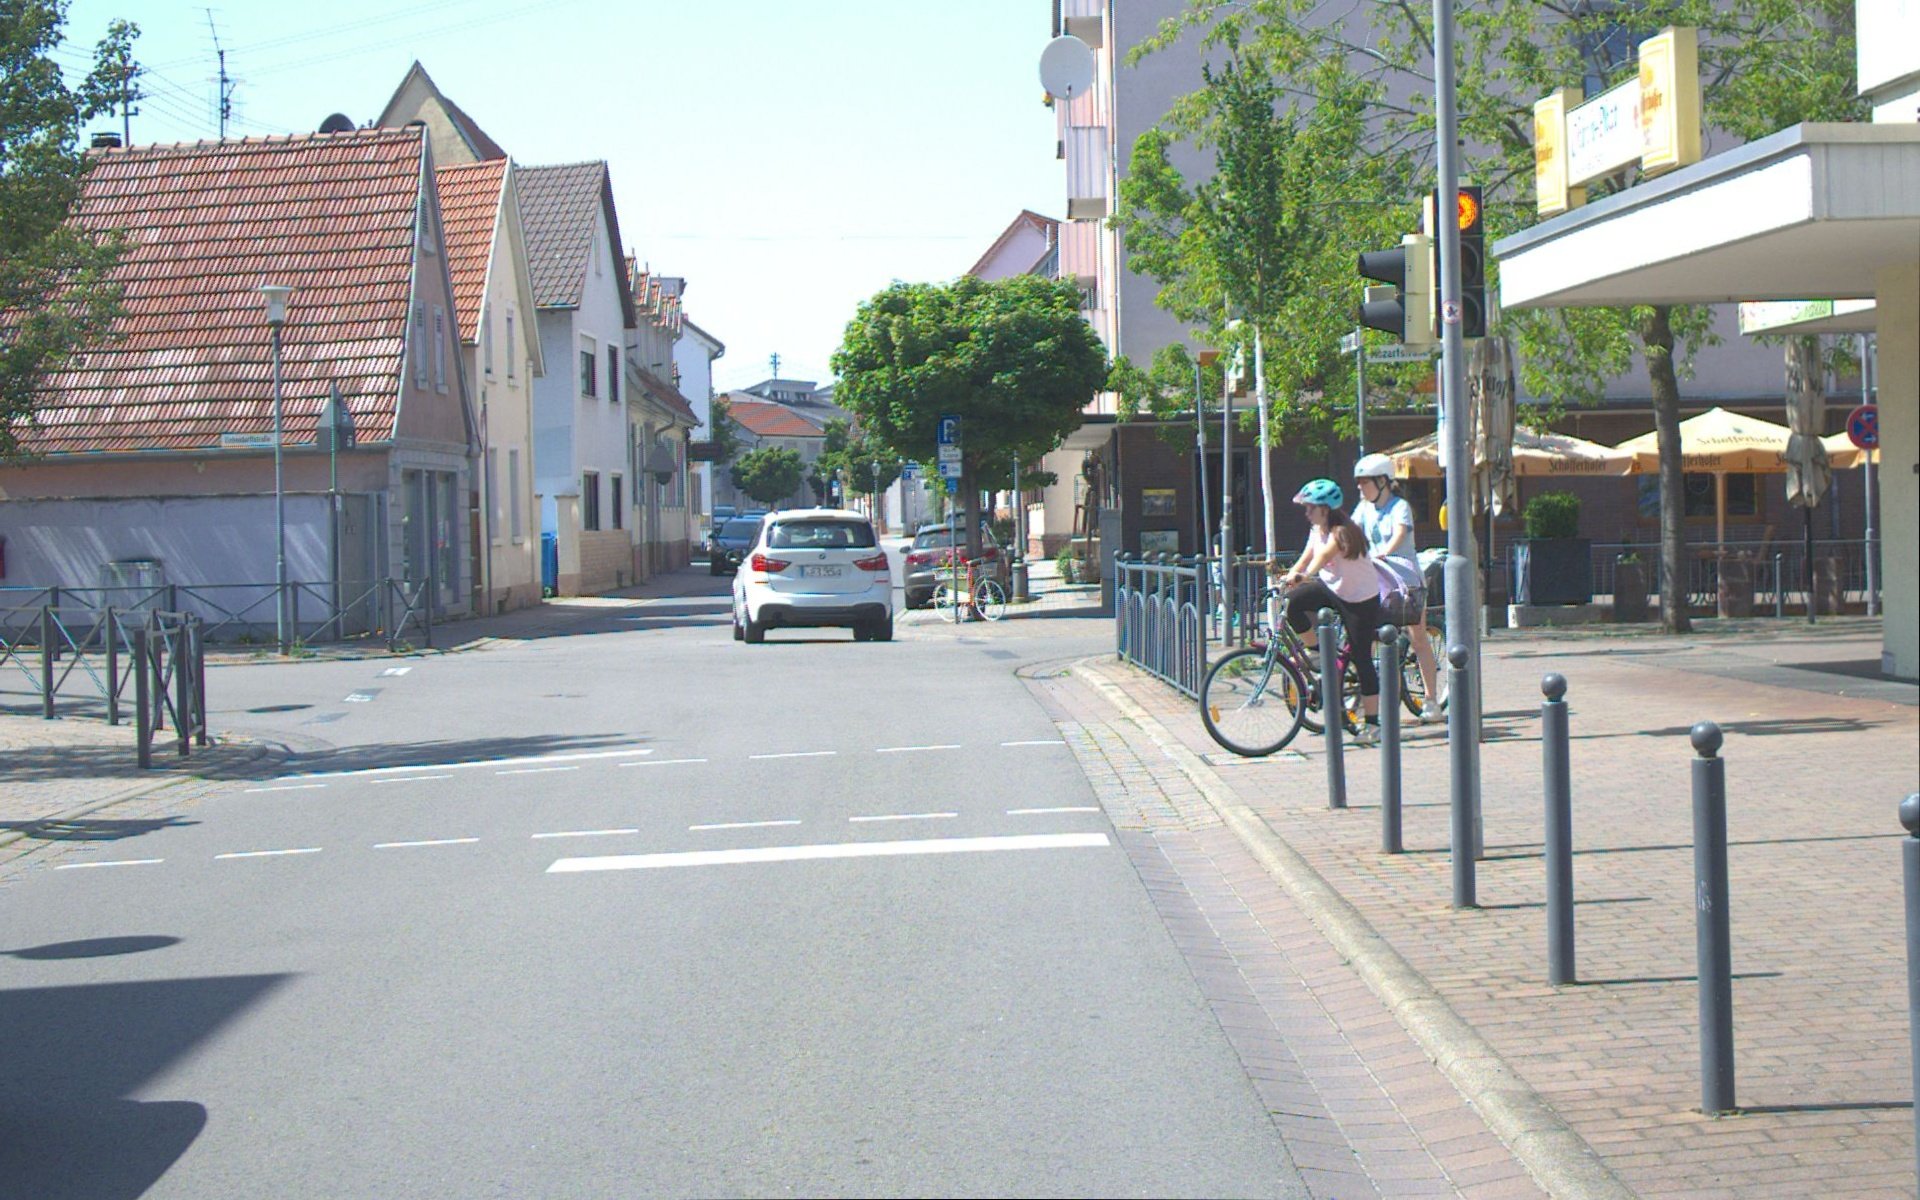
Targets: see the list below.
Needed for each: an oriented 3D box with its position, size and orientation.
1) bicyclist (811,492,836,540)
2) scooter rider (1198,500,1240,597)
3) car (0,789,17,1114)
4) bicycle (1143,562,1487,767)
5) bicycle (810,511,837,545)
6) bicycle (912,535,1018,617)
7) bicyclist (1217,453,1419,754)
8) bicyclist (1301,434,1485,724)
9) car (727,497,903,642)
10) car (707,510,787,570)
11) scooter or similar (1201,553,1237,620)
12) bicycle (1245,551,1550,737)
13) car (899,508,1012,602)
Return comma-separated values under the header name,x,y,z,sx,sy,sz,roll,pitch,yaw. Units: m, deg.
name,x,y,z,sx,sy,sz,roll,pitch,yaw
bicyclist,-4.231,-2.620,106.888,0.673,1.477,0.770,-2,1,2
scooter rider,3.476,-0.695,46.131,0.516,1.281,0.418,-1,1,8
car,-3.427,0.680,6.905,1.880,1.459,4.436,-3,1,-1
bicycle,1.965,0.334,18.855,1.890,0.954,0.676,-5,3,-38
bicycle,-4.227,-2.241,106.798,0.664,1.003,1.897,-2,1,2
bicycle,0.068,-0.352,50.751,0.525,1.189,1.674,-2,2,-43
bicyclist,1.963,0.012,18.859,0.759,1.576,0.671,-5,3,-38
bicyclist,2.572,-0.126,20.411,0.759,1.658,0.670,-5,2,-42
car,-1.839,-0.395,42.429,1.833,1.646,4.001,-2,1,-7
car,-5.572,-1.582,90.247,1.714,1.512,3.786,-1,1,2
scooter or similar,3.473,-0.181,46.092,0.379,0.870,0.890,-1,1,9
bicycle,2.619,0.247,20.440,1.891,0.954,0.675,-5,2,-42
car,-0.046,-0.800,59.520,1.805,1.496,4.000,-1,2,2
